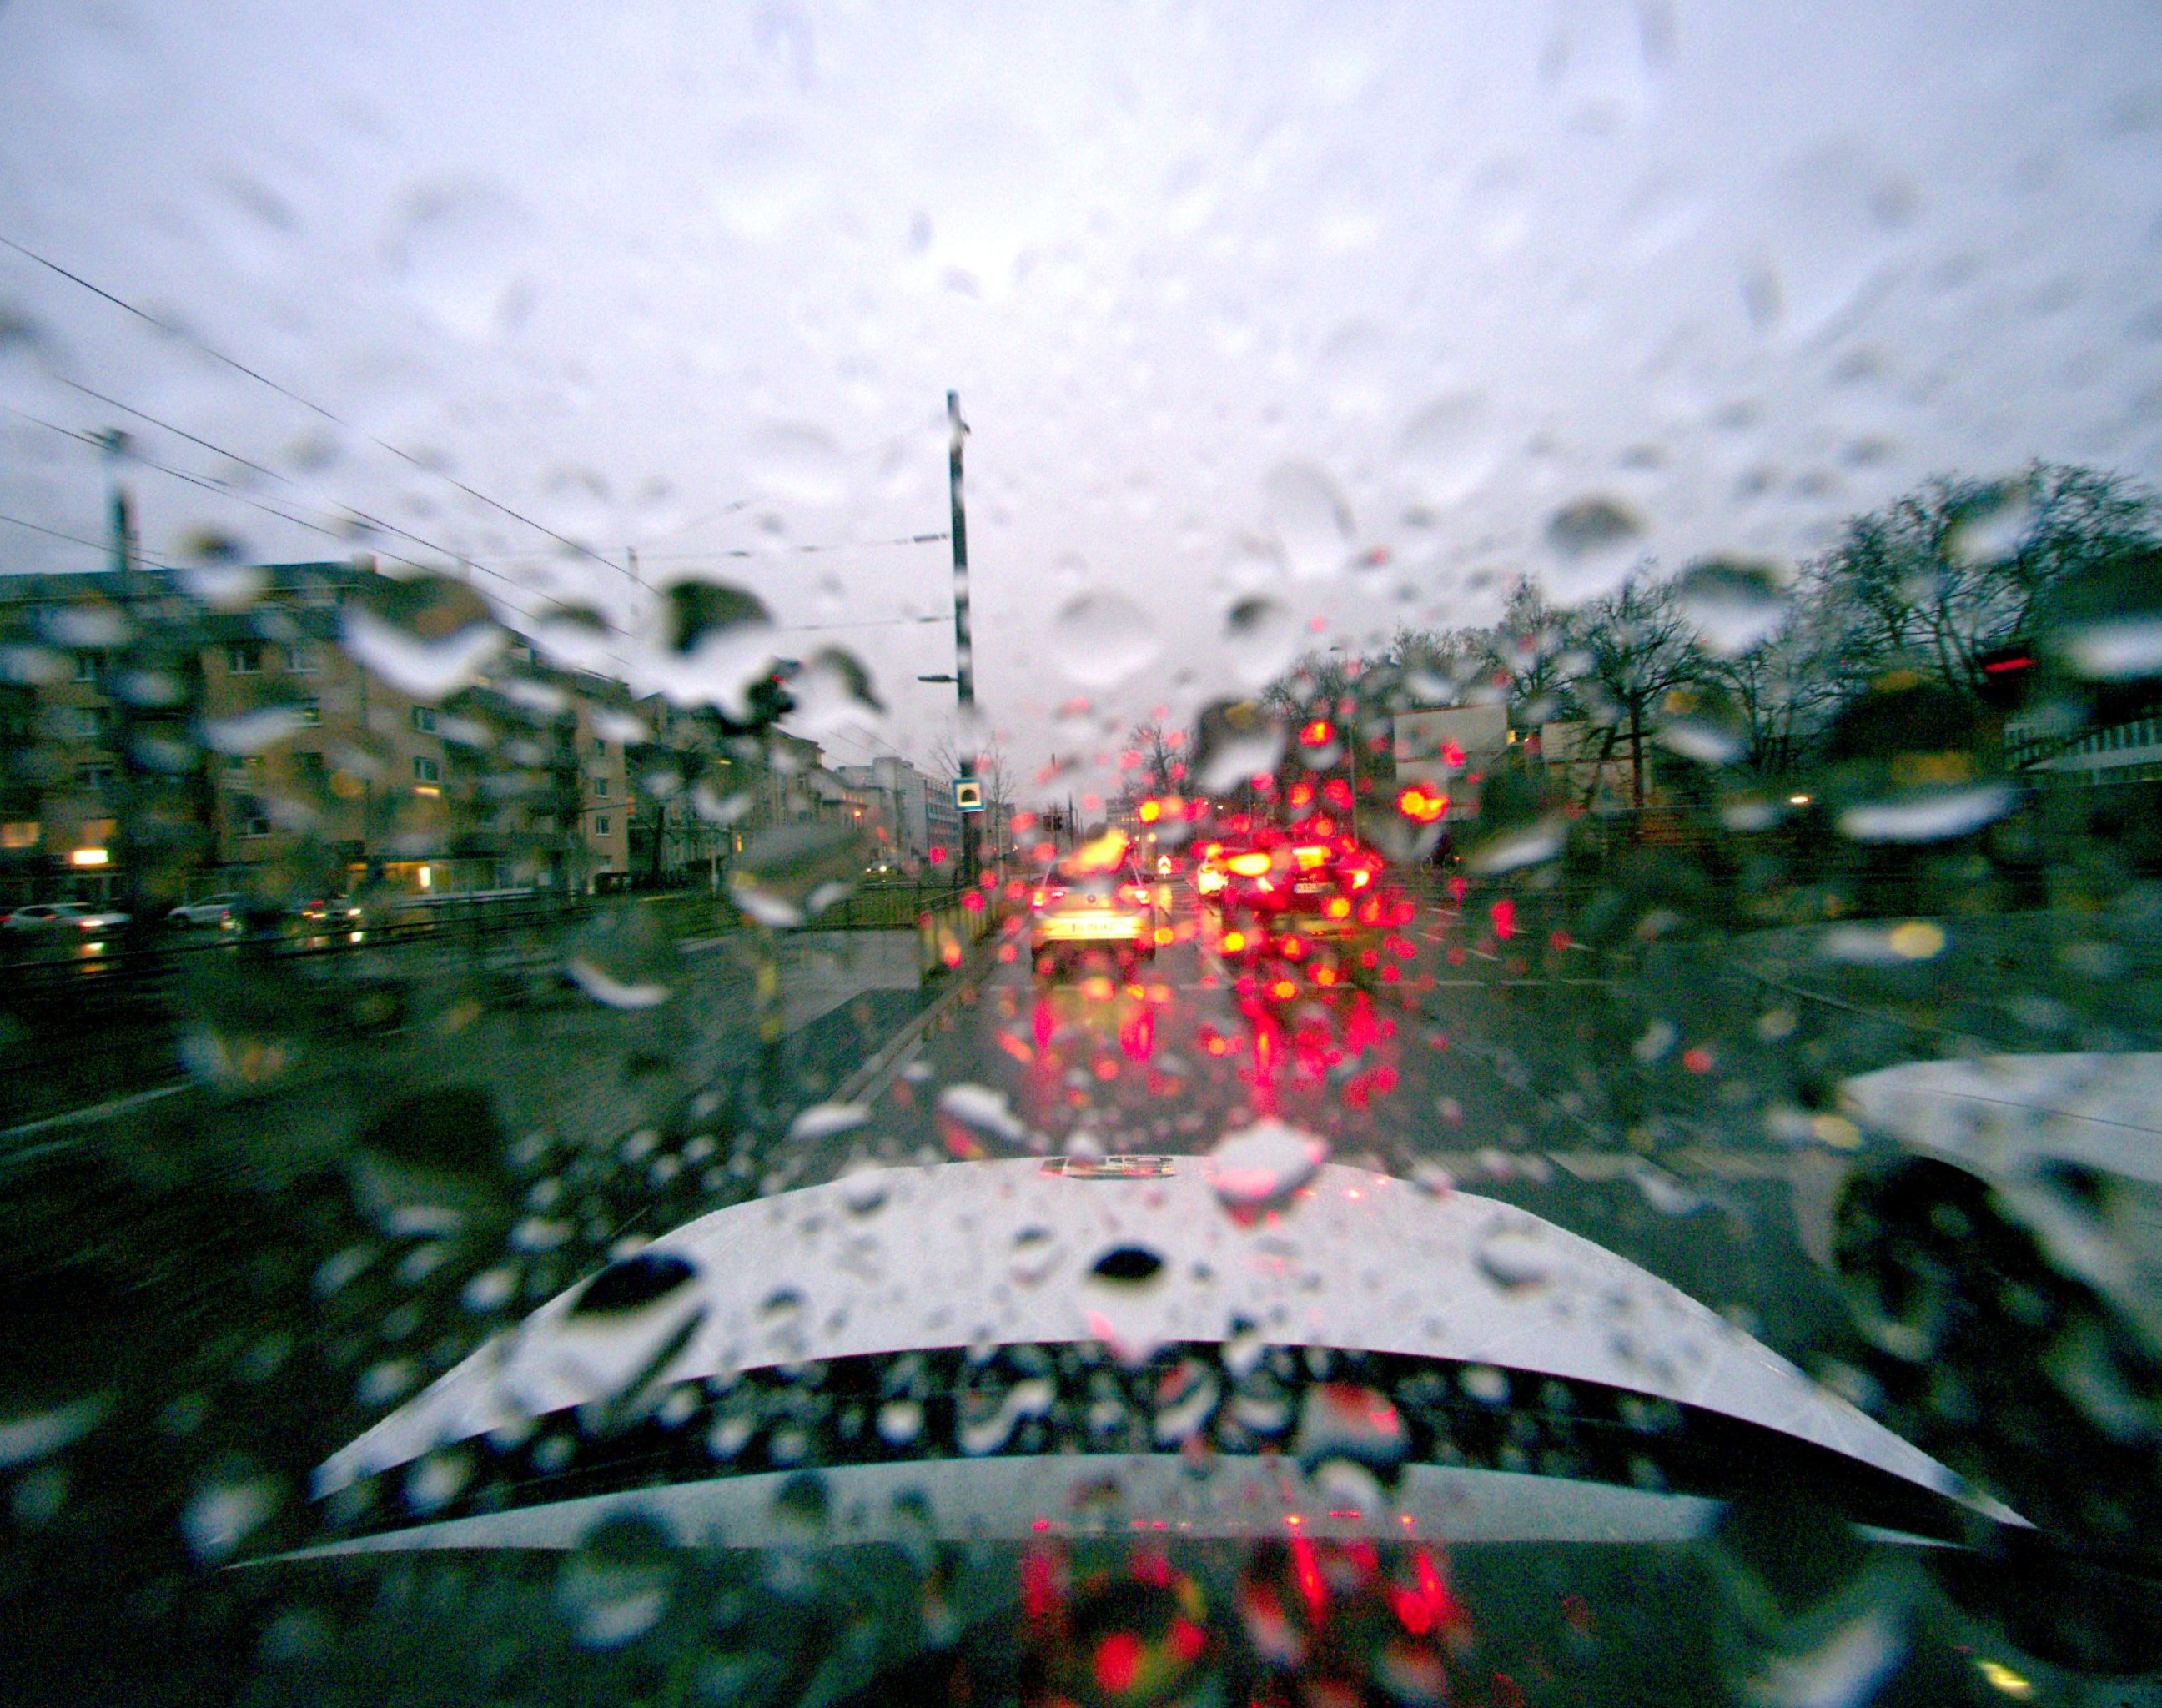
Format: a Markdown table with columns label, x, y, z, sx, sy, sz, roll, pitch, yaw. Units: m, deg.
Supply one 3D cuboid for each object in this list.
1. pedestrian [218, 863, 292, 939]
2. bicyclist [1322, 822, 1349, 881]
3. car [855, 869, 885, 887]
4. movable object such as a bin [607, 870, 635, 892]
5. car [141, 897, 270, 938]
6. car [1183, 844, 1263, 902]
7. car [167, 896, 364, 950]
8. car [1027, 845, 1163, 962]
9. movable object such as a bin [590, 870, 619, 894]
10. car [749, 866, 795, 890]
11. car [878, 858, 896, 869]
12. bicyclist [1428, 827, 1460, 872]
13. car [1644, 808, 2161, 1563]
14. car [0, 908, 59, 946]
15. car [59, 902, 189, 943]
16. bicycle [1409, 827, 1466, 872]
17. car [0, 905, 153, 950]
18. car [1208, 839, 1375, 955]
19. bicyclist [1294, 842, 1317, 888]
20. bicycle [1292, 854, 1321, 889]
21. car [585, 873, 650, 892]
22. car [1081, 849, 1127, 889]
| label | x | y | z | sx | sy | sz | roll | pitch | yaw |
| --- | --- | --- | --- | --- | --- | --- | --- | --- | --- |
| pedestrian | -16.966 | 0.942 | 16.746 | 0.789 | 1.489 | 0.629 | -3 | 0 | -6 |
| bicyclist | 7.864 | -0.089 | 25.185 | 0.498 | 1.767 | 0.837 | -3 | 0 | -1 |
| car | -20.130 | 2.263 | 77.888 | 1.795 | 1.585 | 4.000 | -1 | 0 | 1 |
| movable object such as a bin | -33.077 | 1.926 | 58.548 | 1.104 | 1.480 | 1.424 | -3 | 0 | -1 |
| car | -39.651 | 2.842 | 36.949 | 3.814 | 1.552 | 1.778 | -2 | 0 | 0 |
| car | 3.925 | 0.496 | 23.027 | 1.715 | 1.479 | 4.002 | -1 | 0 | 2 |
| car | -30.082 | 2.495 | 30.271 | 4.712 | 1.545 | 1.983 | -2 | 0 | -25 |
| car | 0.262 | 0.641 | 12.410 | 1.715 | 1.479 | 4.002 | -1 | 0 | 2 |
| movable object such as a bin | -33.207 | 1.920 | 56.825 | 1.104 | 1.561 | 1.424 | -3 | 0 | -1 |
| car | -22.745 | 1.749 | 60.022 | 1.795 | 1.585 | 4.000 | -1 | 0 | 1 |
| car | -28.966 | 1.379 | 121.740 | 1.801 | 1.436 | 3.925 | -3 | 1 | -1 |
| bicyclist | 13.949 | -0.183 | 31.280 | 0.697 | 1.679 | 0.813 | -2 | 0 | -19 |
| car | 3.000 | 0.644 | 0.644 | 1.780 | 1.501 | 4.969 | -1 | 0 | 2 |
| car | -50.225 | 3.432 | 37.569 | 3.814 | 1.552 | 1.758 | -2 | 0 | 0 |
| car | -44.273 | 3.153 | 37.740 | 3.814 | 1.552 | 1.758 | -2 | 0 | 0 |
| bicycle | 13.838 | -0.164 | 31.706 | 0.690 | 1.657 | 2.232 | -1 | 0 | -19 |
| car | -39.203 | 2.844 | 31.748 | 3.976 | 1.511 | 1.684 | -1 | 0 | -2 |
| car | 3.020 | 0.563 | 12.480 | 1.715 | 1.479 | 4.003 | -1 | 0 | 3 |
| bicyclist | 7.968 | 0.386 | 28.890 | 0.498 | 1.591 | 0.837 | -3 | 0 | -1 |
| bicycle | 7.970 | 0.594 | 28.892 | 0.410 | 1.185 | 1.947 | -3 | 1 | -1 |
| car | -36.606 | 2.224 | 64.381 | 3.974 | 1.407 | 1.833 | -1 | -1 | -1 |
| car | 0.946 | 0.568 | 32.428 | 1.715 | 1.479 | 4.002 | -1 | 0 | 2 |
